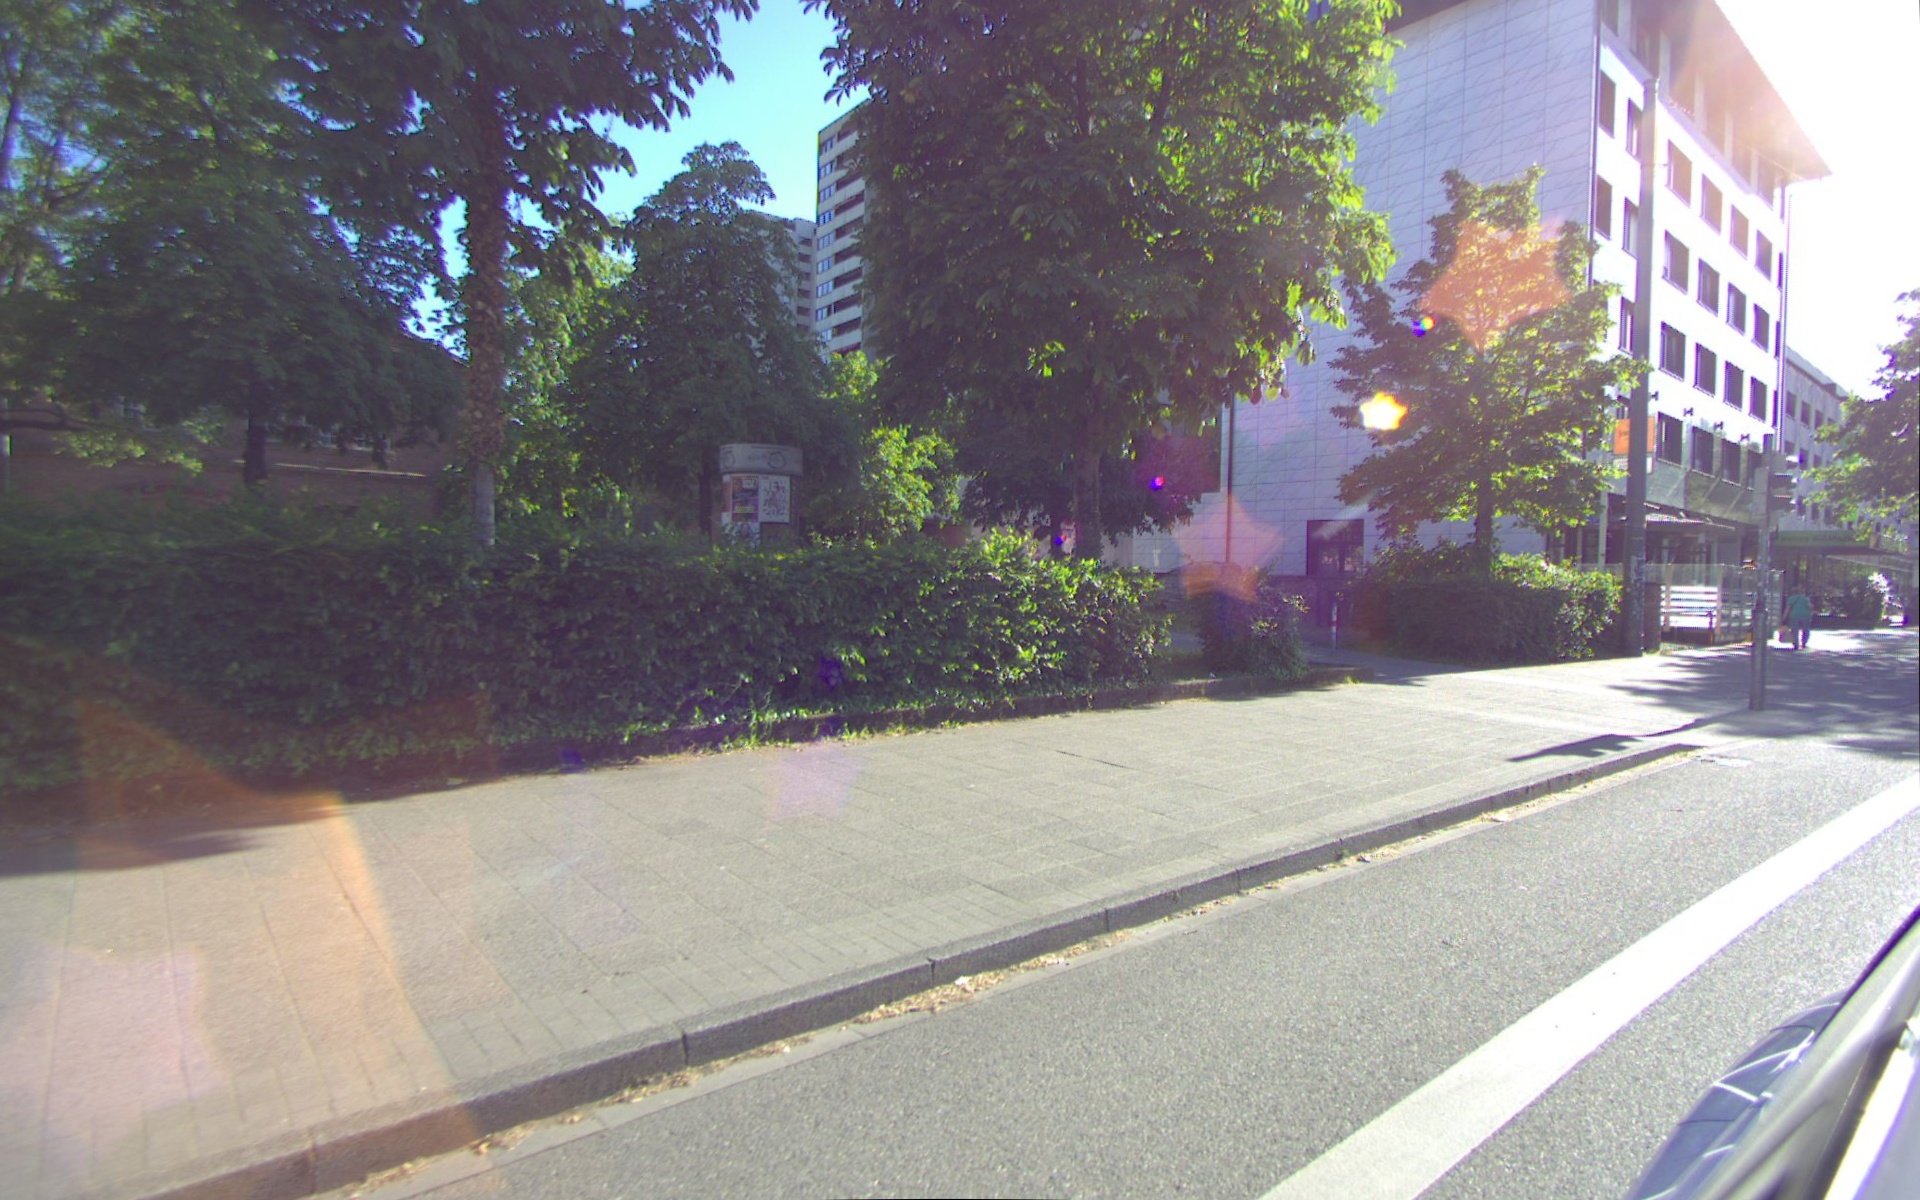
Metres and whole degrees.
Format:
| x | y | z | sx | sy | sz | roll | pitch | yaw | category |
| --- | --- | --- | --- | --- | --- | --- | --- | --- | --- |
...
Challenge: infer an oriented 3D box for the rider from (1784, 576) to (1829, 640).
| x | y | z | sx | sy | sz | roll | pitch | yaw | category |
| --- | --- | --- | --- | --- | --- | --- | --- | --- | --- |
| 22.131 | 0.190 | 26.457 | 0.777 | 1.610 | 0.777 | 0 | 2 | -44 | rider |
